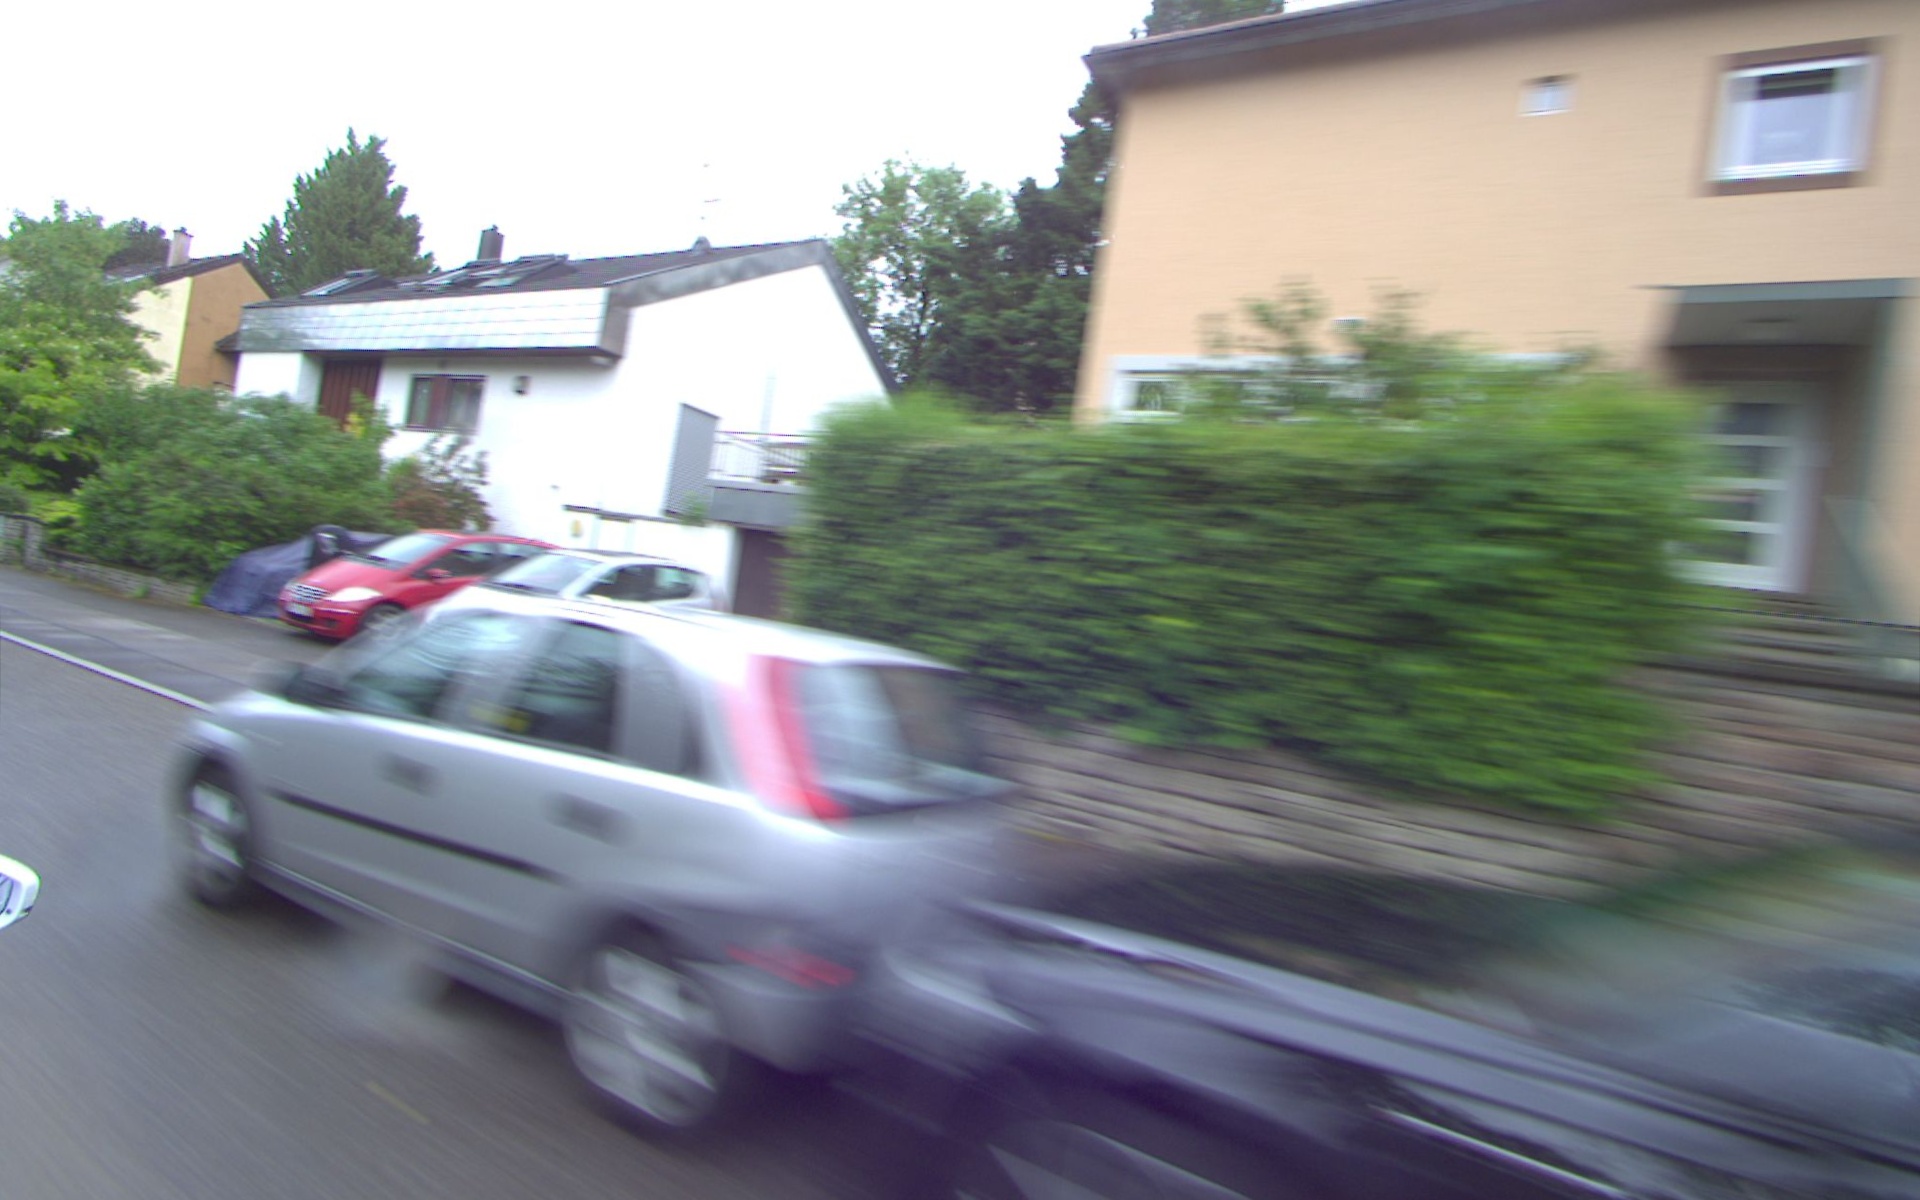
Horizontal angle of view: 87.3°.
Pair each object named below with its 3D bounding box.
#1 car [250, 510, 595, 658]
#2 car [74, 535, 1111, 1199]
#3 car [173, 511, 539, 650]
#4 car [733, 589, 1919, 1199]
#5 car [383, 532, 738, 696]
[{"bbox_3d":[-7.222,-0.141,13.865,1.851,1.585,3.663,7,0,31],"label":"car"},{"bbox_3d":[-1.653,0.678,4.228,4.033,1.414,1.817,6,-2,30],"label":"car"},{"bbox_3d":[-8.839,-0.202,15.131,1.851,1.477,4.254,6,-2,31],"label":"car"},{"bbox_3d":[1.979,1.042,1.817,4.551,1.565,1.834,6,-2,30],"label":"car"},{"bbox_3d":[-4.706,0.190,12.365,1.797,1.556,3.662,7,1,28],"label":"car"}]
